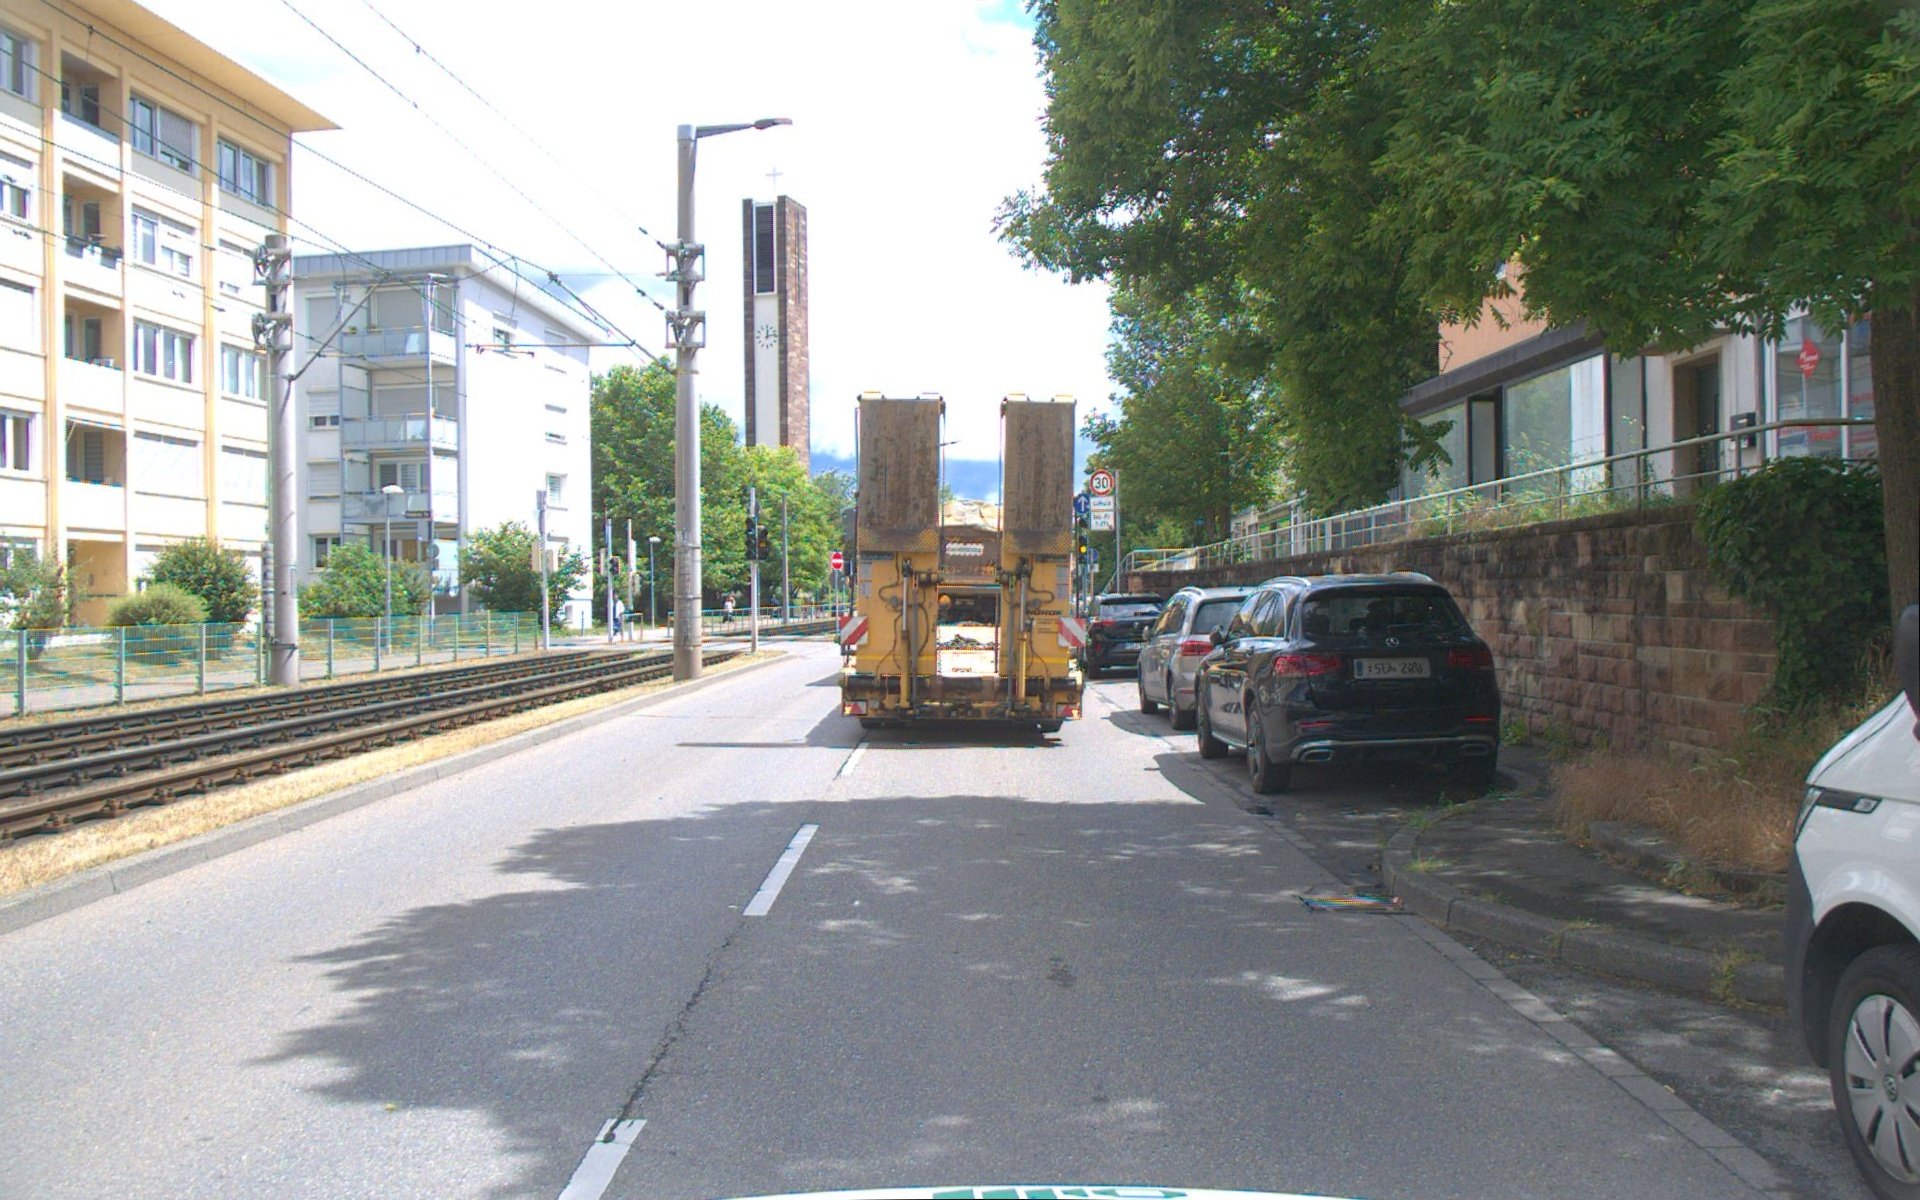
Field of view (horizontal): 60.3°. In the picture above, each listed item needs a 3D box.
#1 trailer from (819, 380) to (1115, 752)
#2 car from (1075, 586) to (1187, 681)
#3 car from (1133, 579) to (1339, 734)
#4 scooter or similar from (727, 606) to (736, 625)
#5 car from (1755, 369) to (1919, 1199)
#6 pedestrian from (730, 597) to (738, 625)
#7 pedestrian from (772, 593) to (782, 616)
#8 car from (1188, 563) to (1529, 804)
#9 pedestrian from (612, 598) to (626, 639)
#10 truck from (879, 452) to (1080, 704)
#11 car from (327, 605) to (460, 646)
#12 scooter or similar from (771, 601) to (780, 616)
[{"bbox_3d":[0.183,-0.338,20.954,2.884,3.664,8.685,1,0,1],"label":"trailer"},{"bbox_3d":[3.261,0.615,32.174,1.812,1.668,4.001,-2,0,1],"label":"car"},{"bbox_3d":[3.250,0.621,20.270,1.753,1.646,4.248,-2,0,0],"label":"car"},{"bbox_3d":[-12.773,0.861,92.499,0.331,1.076,0.688,0,0,4],"label":"scooter or similar"},{"bbox_3d":[3.233,0.449,2.218,1.932,2.004,5.013,0,0,0],"label":"car"},{"bbox_3d":[-12.733,0.635,93.143,0.341,1.564,0.557,0,0,4],"label":"pedestrian"},{"bbox_3d":[-12.102,0.305,109.465,0.552,1.540,0.645,1,0,0],"label":"pedestrian"},{"bbox_3d":[3.162,0.600,14.079,1.753,1.646,4.447,-2,0,0],"label":"car"},{"bbox_3d":[-13.314,0.728,64.640,0.428,1.608,0.475,0,0,5],"label":"pedestrian"},{"bbox_3d":[0.355,-0.324,26.583,2.882,3.635,4.878,1,0,2],"label":"truck"},{"bbox_3d":[-19.640,0.871,57.399,3.902,1.369,1.903,-1,0,9],"label":"car"},{"bbox_3d":[-12.127,0.571,108.809,0.495,0.988,0.645,1,0,0],"label":"scooter or similar"}]
